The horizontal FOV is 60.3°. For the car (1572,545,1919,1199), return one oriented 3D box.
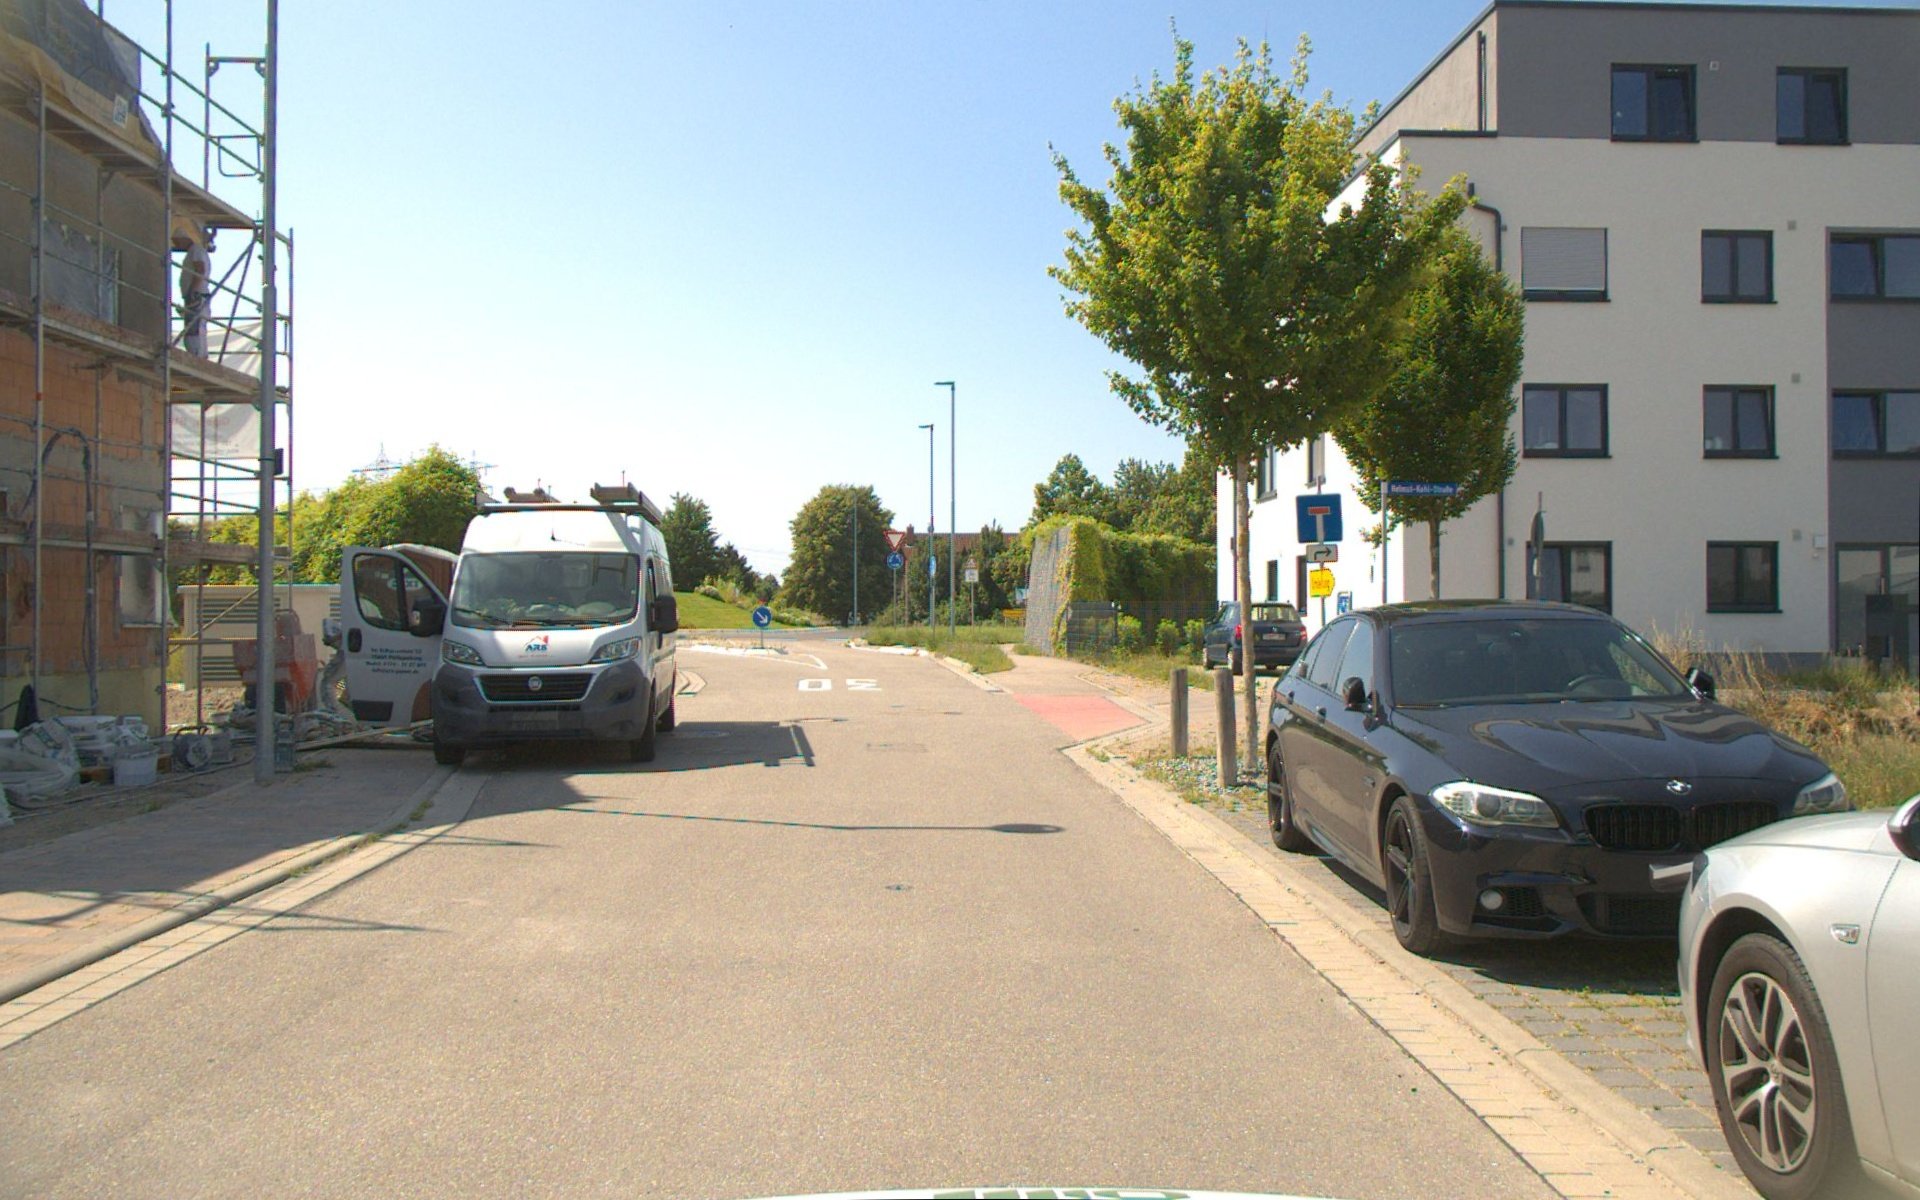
[{"bbox_3d":[2.988,0.627,2.698,1.879,1.537,5.293,-2,0,-1],"label":"car"}]

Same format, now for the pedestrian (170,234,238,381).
[{"bbox_3d":[-8.837,-3.401,19.324,0.558,1.526,0.738,1,-3,-38],"label":"pedestrian"}]

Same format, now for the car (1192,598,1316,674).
[{"bbox_3d":[6.192,0.727,35.248,1.644,1.495,4.113,1,0,-4],"label":"car"}]

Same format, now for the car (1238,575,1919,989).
[{"bbox_3d":[2.853,0.668,8.765,1.879,1.495,5.140,-2,0,0],"label":"car"}]

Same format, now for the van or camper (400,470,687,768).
[{"bbox_3d":[-4.174,0.213,17.704,2.230,2.598,6.356,0,-1,-7],"label":"van or camper"}]
